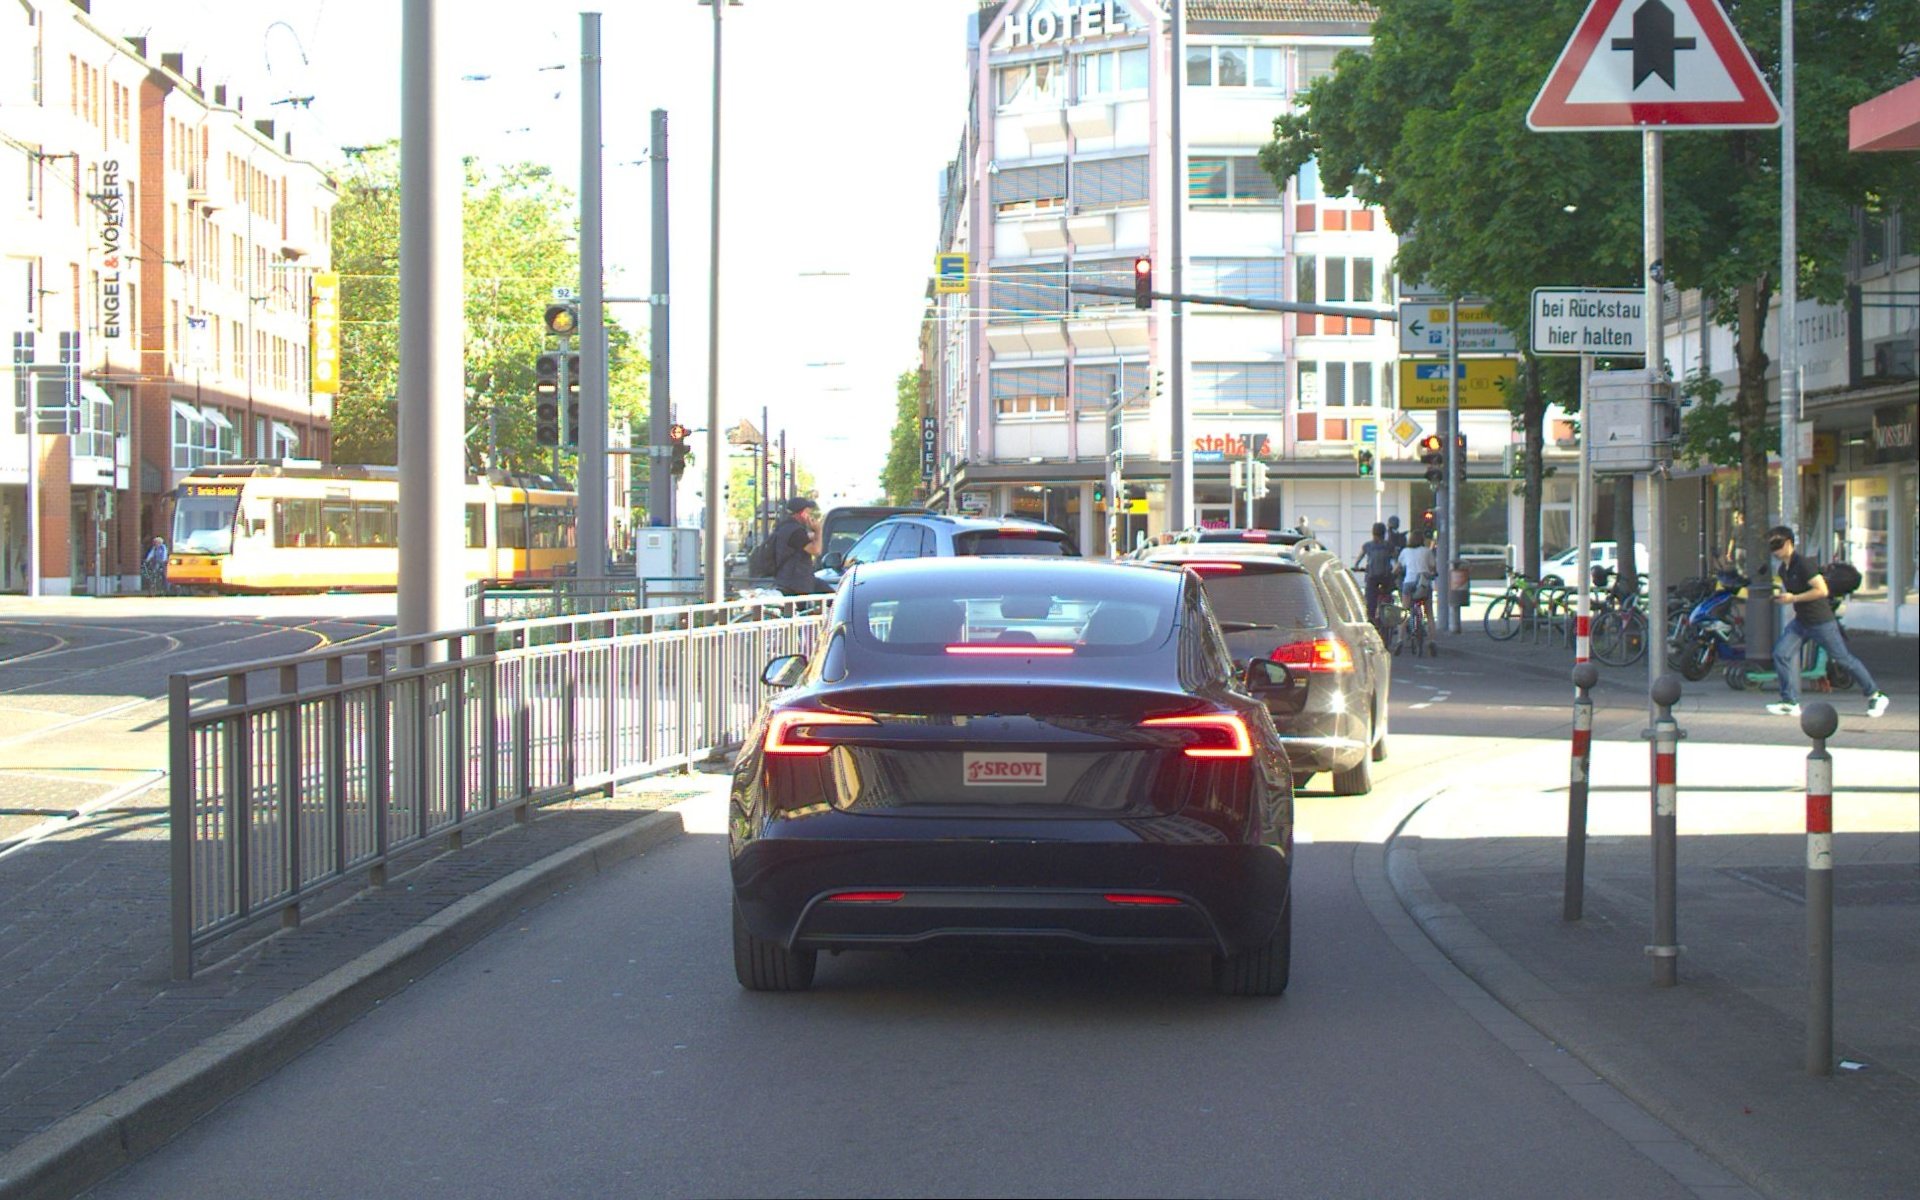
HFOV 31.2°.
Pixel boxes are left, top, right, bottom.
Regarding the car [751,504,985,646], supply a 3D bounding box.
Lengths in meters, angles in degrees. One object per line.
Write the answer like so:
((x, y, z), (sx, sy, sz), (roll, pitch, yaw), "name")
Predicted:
((-1.135, -0.314, 40.047), (1.824, 1.514, 4.219), (2, 1, -14), "car")

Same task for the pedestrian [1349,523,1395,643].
((5.807, -0.245, 48.453), (0.562, 1.677, 0.750), (1, 1, 4), "pedestrian")

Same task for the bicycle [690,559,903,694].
((-1.412, 0.228, 29.522), (1.727, 1.084, 0.678), (2, 1, -8), "bicycle")

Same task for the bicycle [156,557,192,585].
((-24.818, -0.913, 108.588), (0.702, 0.852, 2.053), (0, 1, -1), "bicycle")

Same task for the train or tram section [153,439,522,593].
((-16.288, -2.097, 91.749), (2.677, 3.703, 14.177), (2, 1, 21), "train or tram section")

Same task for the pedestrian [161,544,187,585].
((-24.807, -1.124, 108.476), (0.696, 1.303, 0.564), (0, 1, -2), "pedestrian")

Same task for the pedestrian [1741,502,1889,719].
((7.018, 0.087, 28.222), (1.004, 1.736, 0.529), (2, 1, -26), "pedestrian")

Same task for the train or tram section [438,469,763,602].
((-10.724, -1.844, 105.467), (2.640, 3.706, 15.367), (2, 1, 23), "train or tram section")

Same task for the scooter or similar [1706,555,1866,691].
((8.137, 0.228, 33.870), (1.408, 1.312, 0.696), (0, -1, -26), "scooter or similar")

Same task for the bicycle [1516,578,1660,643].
((8.847, 0.147, 48.438), (1.924, 0.887, 0.526), (1, 1, 0), "bicycle")

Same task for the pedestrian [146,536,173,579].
((-24.743, -1.311, 106.270), (0.711, 1.337, 0.666), (0, 1, -1), "pedestrian")

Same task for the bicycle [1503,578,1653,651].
((8.333, 0.190, 46.384), (1.924, 0.947, 0.526), (1, 1, 0), "bicycle")

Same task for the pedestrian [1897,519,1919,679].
((10.059, -0.015, 35.560), (0.595, 1.636, 0.466), (-1, 0, 1), "pedestrian")

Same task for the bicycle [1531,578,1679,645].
((8.886, 0.153, 47.382), (1.924, 0.885, 0.526), (1, 1, 0), "bicycle")

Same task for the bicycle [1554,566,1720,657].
((8.362, 0.141, 42.513), (1.924, 1.093, 0.555), (1, 0, 0), "bicycle")

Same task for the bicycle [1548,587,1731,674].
((7.985, 0.354, 40.436), (2.051, 0.979, 0.483), (1, 0, 0), "bicycle")

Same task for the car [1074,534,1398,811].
((1.731, 0.351, 20.481), (1.654, 1.413, 3.999), (2, 2, 8), "car")

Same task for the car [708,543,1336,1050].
((0.113, 0.569, 12.209), (1.849, 1.479, 3.787), (2, 1, -2), "car")

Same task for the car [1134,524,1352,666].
((3.257, -0.083, 40.259), (1.824, 1.514, 3.650), (2, 1, -6), "car")

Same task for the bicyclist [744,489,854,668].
((-1.389, -0.189, 29.594), (0.836, 1.494, 0.560), (2, 0, -9), "bicyclist")

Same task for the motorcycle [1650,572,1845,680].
((8.753, 0.285, 38.260), (1.991, 1.124, 0.596), (2, 1, -1), "motorcycle")

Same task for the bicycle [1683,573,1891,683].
((8.713, 0.291, 36.252), (2.051, 1.118, 0.483), (1, 0, 0), "bicycle")

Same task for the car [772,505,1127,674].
((-0.184, -0.141, 33.750), (1.783, 1.514, 4.219), (2, 1, -26), "car")

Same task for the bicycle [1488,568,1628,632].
((8.624, 0.000, 49.618), (1.924, 0.887, 0.526), (1, 1, 0), "bicycle")

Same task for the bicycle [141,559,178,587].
((-24.746, -0.838, 106.334), (0.702, 0.852, 2.053), (0, 1, -1), "bicycle")

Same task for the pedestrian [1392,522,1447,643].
((6.186, -0.243, 46.304), (0.629, 1.608, 0.643), (1, 1, 3), "pedestrian")

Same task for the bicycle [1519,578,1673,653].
((8.384, 0.204, 45.369), (1.924, 0.947, 0.526), (1, 1, 0), "bicycle")
